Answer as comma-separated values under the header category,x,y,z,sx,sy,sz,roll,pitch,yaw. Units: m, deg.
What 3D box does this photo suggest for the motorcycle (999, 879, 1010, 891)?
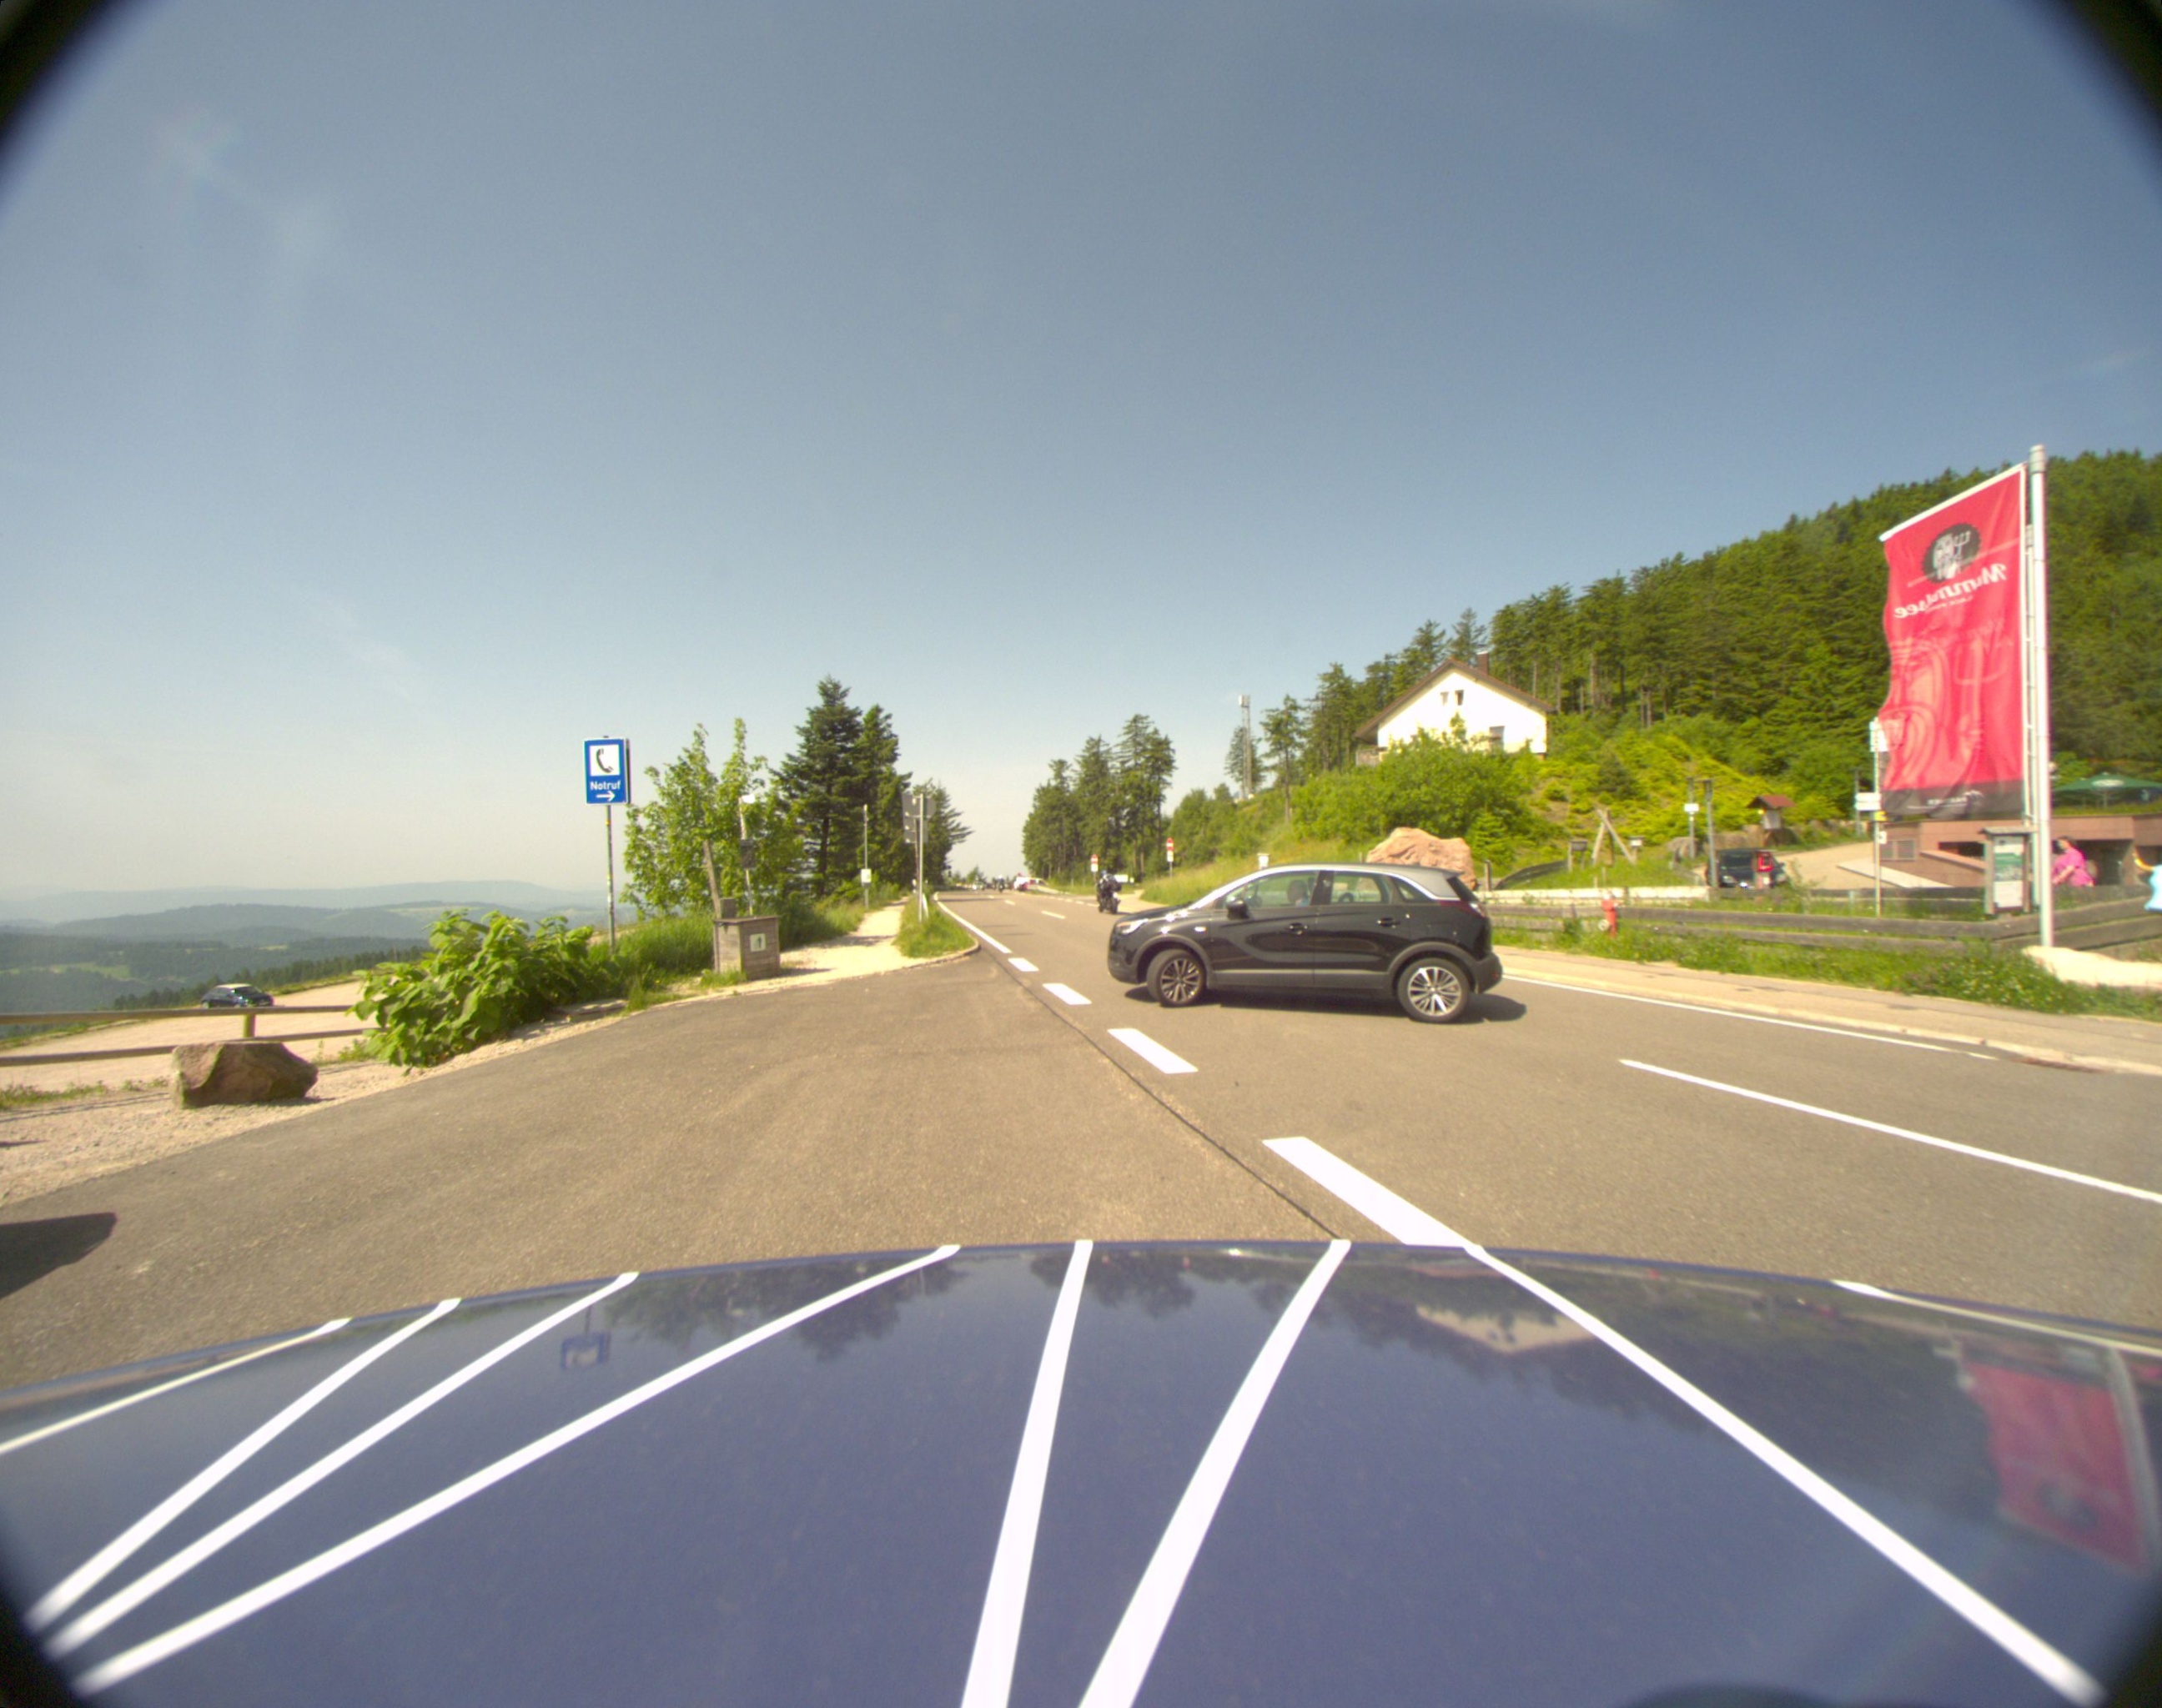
category,x,y,z,sx,sy,sz,roll,pitch,yaw
motorcycle,-7.513,3.044,74.537,0.842,1.089,2.181,1,0,-9

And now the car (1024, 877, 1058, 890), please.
category,x,y,z,sx,sy,sz,roll,pitch,yaw
car,-5.055,3.677,95.402,4.163,1.501,1.931,2,-1,-8

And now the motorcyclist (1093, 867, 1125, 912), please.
category,x,y,z,sx,sy,sz,roll,pitch,yaw
motorcyclist,1.035,1.290,28.099,0.882,1.632,1.298,0,0,-12

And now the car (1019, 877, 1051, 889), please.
category,x,y,z,sx,sy,sz,roll,pitch,yaw
car,-6.400,4.025,105.536,4.247,1.516,1.930,2,-2,-12

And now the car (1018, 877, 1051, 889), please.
category,x,y,z,sx,sy,sz,roll,pitch,yaw
car,-6.021,3.772,97.907,3.933,1.365,1.930,2,-2,-12

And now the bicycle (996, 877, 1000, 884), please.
category,x,y,z,sx,sy,sz,roll,pitch,yaw
bicycle,-14.876,4.726,135.607,0.546,1.220,1.858,1,-1,-2

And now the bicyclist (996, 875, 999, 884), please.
category,x,y,z,sx,sy,sz,roll,pitch,yaw
bicyclist,-14.876,4.565,135.512,0.546,1.518,0.679,1,-1,-2

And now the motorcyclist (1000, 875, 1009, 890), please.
category,x,y,z,sx,sy,sz,roll,pitch,yaw
motorcyclist,-7.513,2.755,74.534,0.842,1.432,1.004,1,1,-9

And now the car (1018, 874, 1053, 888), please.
category,x,y,z,sx,sy,sz,roll,pitch,yaw
car,-6.563,3.896,109.227,4.734,1.870,1.930,2,-1,-12

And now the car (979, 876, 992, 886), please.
category,x,y,z,sx,sy,sz,roll,pitch,yaw
car,-16.863,4.783,133.928,1.999,1.586,3.999,1,-1,-5

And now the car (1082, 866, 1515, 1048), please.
category,x,y,z,sx,sy,sz,roll,pitch,yaw
car,2.311,0.984,8.508,4.140,1.607,1.989,-1,0,20

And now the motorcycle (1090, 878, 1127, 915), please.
category,x,y,z,sx,sy,sz,roll,pitch,yaw
motorcycle,0.993,1.548,28.266,0.814,1.258,2.325,0,-1,-12

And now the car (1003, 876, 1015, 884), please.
category,x,y,z,sx,sy,sz,roll,pitch,yaw
car,-14.774,5.342,156.087,1.999,1.586,4.000,1,-1,-1

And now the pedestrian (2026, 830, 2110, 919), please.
category,x,y,z,sx,sy,sz,roll,pitch,yaw
pedestrian,19.505,0.404,15.035,0.698,1.706,0.799,0,0,21

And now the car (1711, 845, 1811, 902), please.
category,x,y,z,sx,sy,sz,roll,pitch,yaw
car,21.341,0.550,23.999,1.874,1.347,4.005,0,5,35
